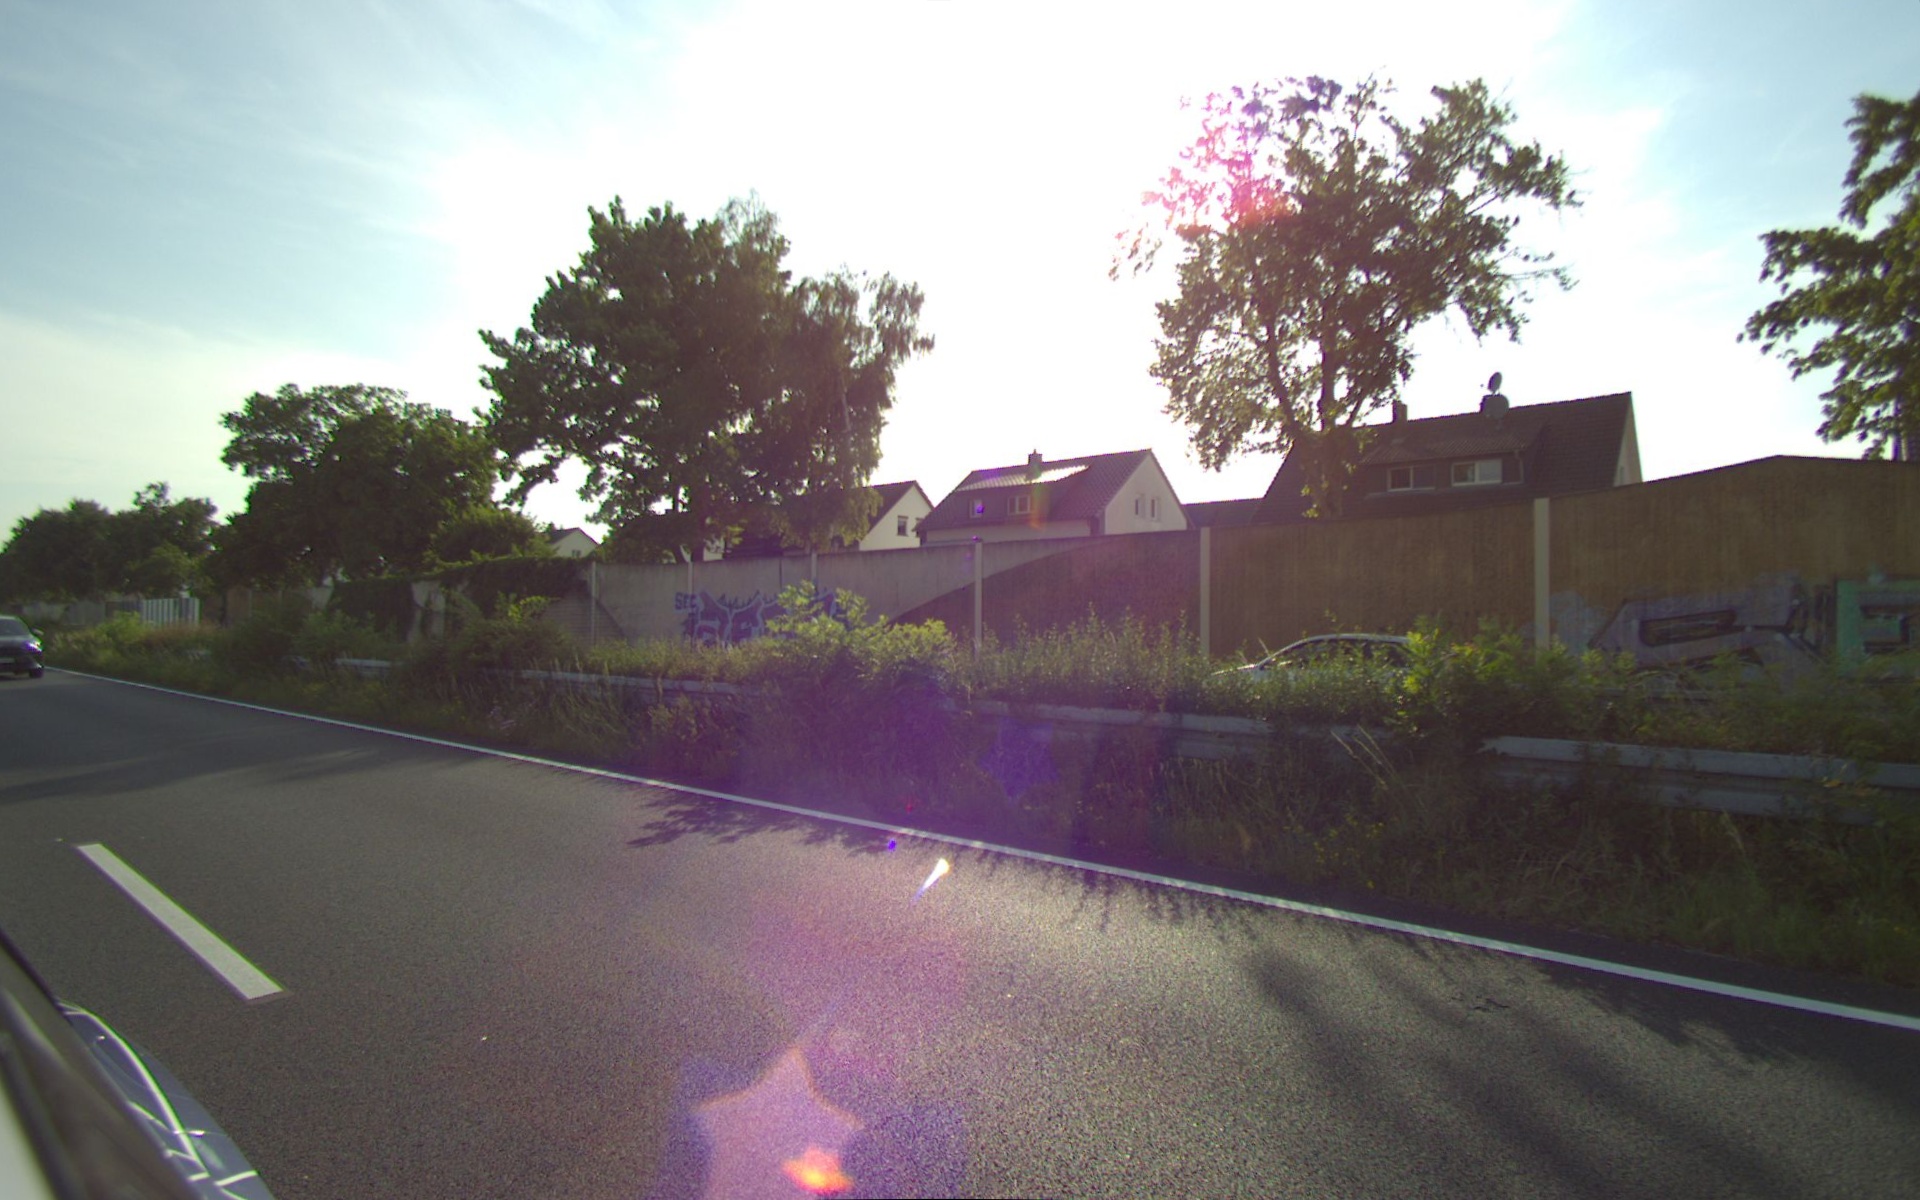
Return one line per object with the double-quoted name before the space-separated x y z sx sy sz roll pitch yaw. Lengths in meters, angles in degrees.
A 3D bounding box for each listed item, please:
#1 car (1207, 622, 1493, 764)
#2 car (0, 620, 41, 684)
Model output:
"car" 5.393 1.176 14.155 3.334 1.674 1.788 -1 0 41
"car" -25.144 1.311 26.016 4.245 1.536 1.798 -1 0 42
